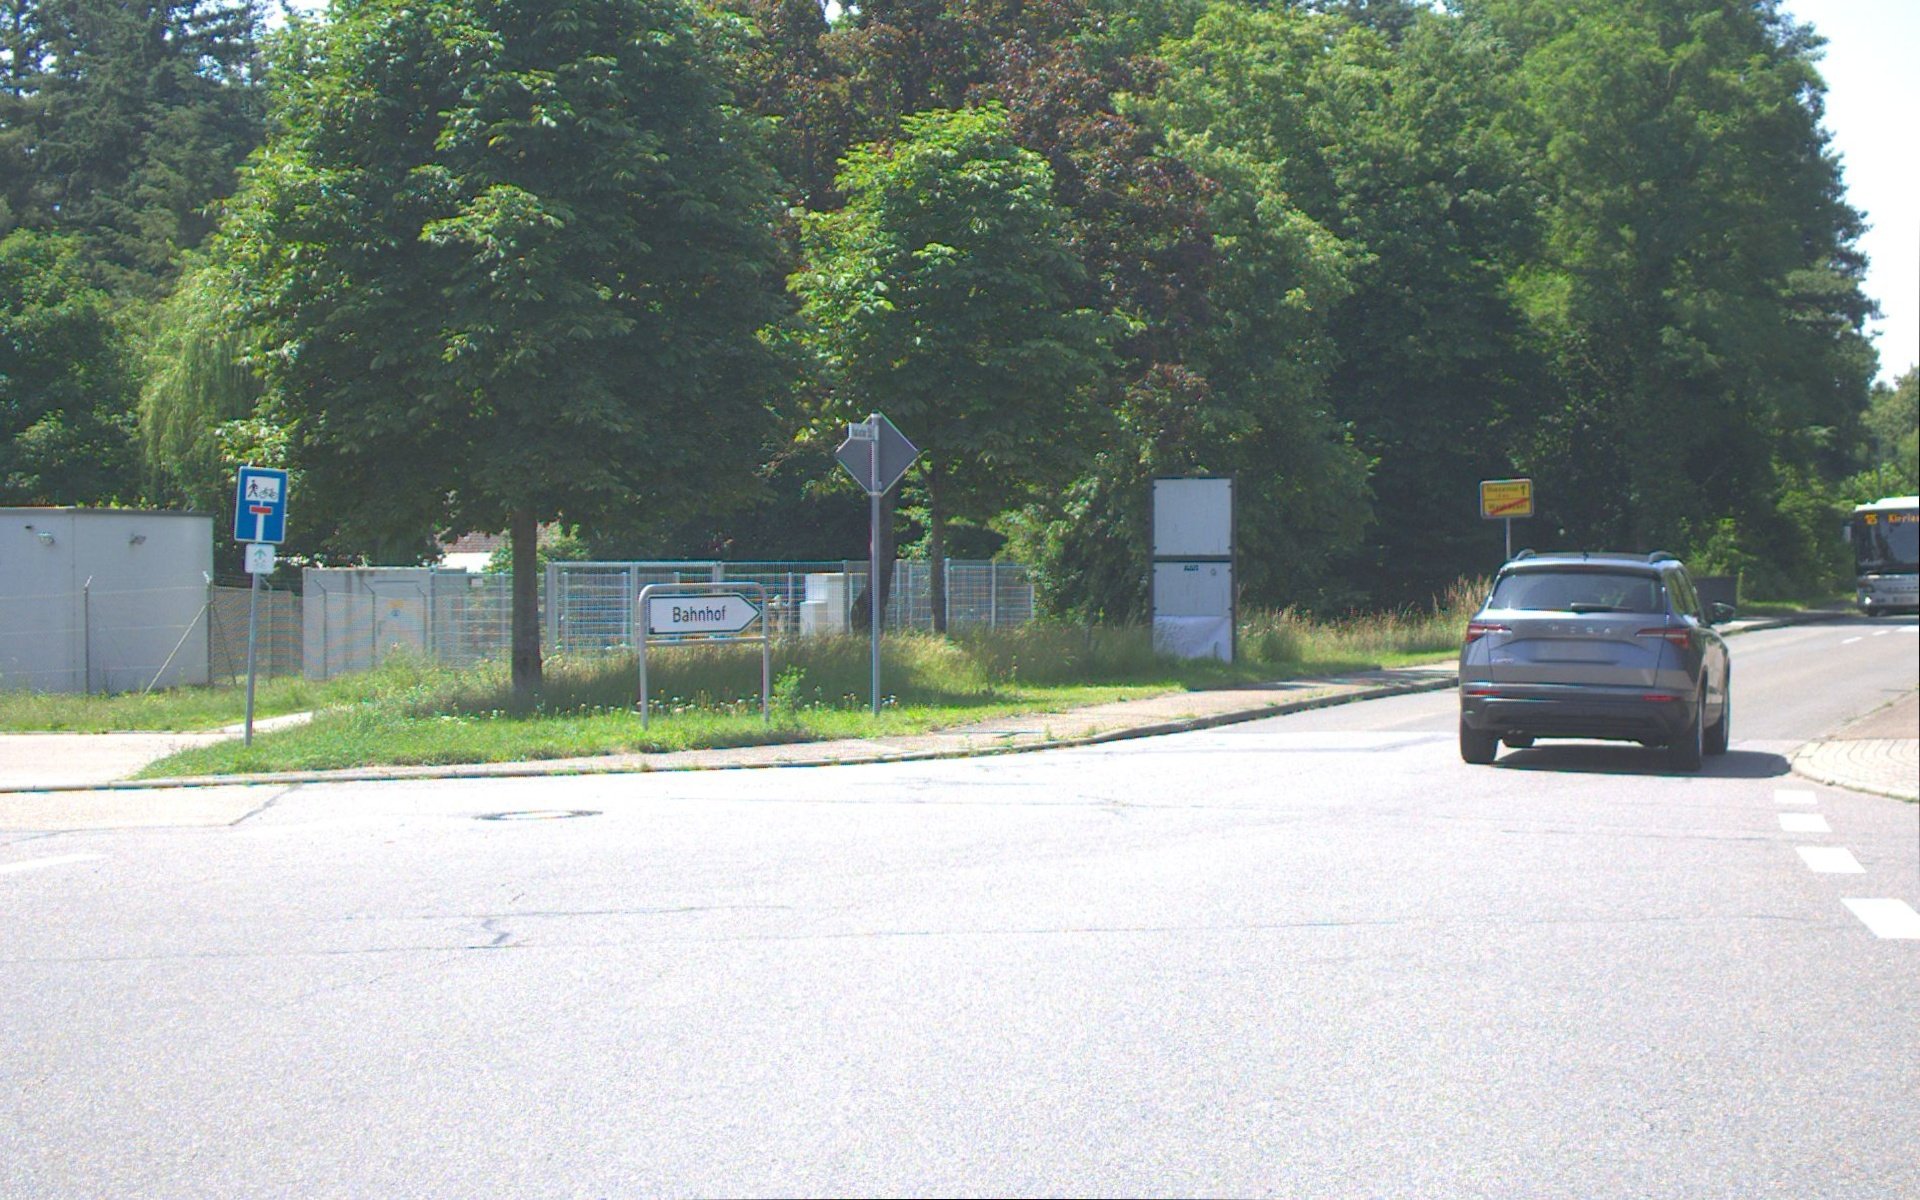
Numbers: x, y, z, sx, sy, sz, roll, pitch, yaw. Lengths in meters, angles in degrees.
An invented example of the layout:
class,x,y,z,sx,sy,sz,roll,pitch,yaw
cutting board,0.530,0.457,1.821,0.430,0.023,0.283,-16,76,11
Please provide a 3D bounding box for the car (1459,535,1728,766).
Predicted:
class,x,y,z,sx,sy,sz,roll,pitch,yaw
car,4.970,0.343,26.614,1.763,1.612,3.997,1,1,14

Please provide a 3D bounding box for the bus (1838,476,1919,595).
class,x,y,z,sx,sy,sz,roll,pitch,yaw
bus,27.778,-1.844,99.161,3.185,3.233,12.698,0,1,21
